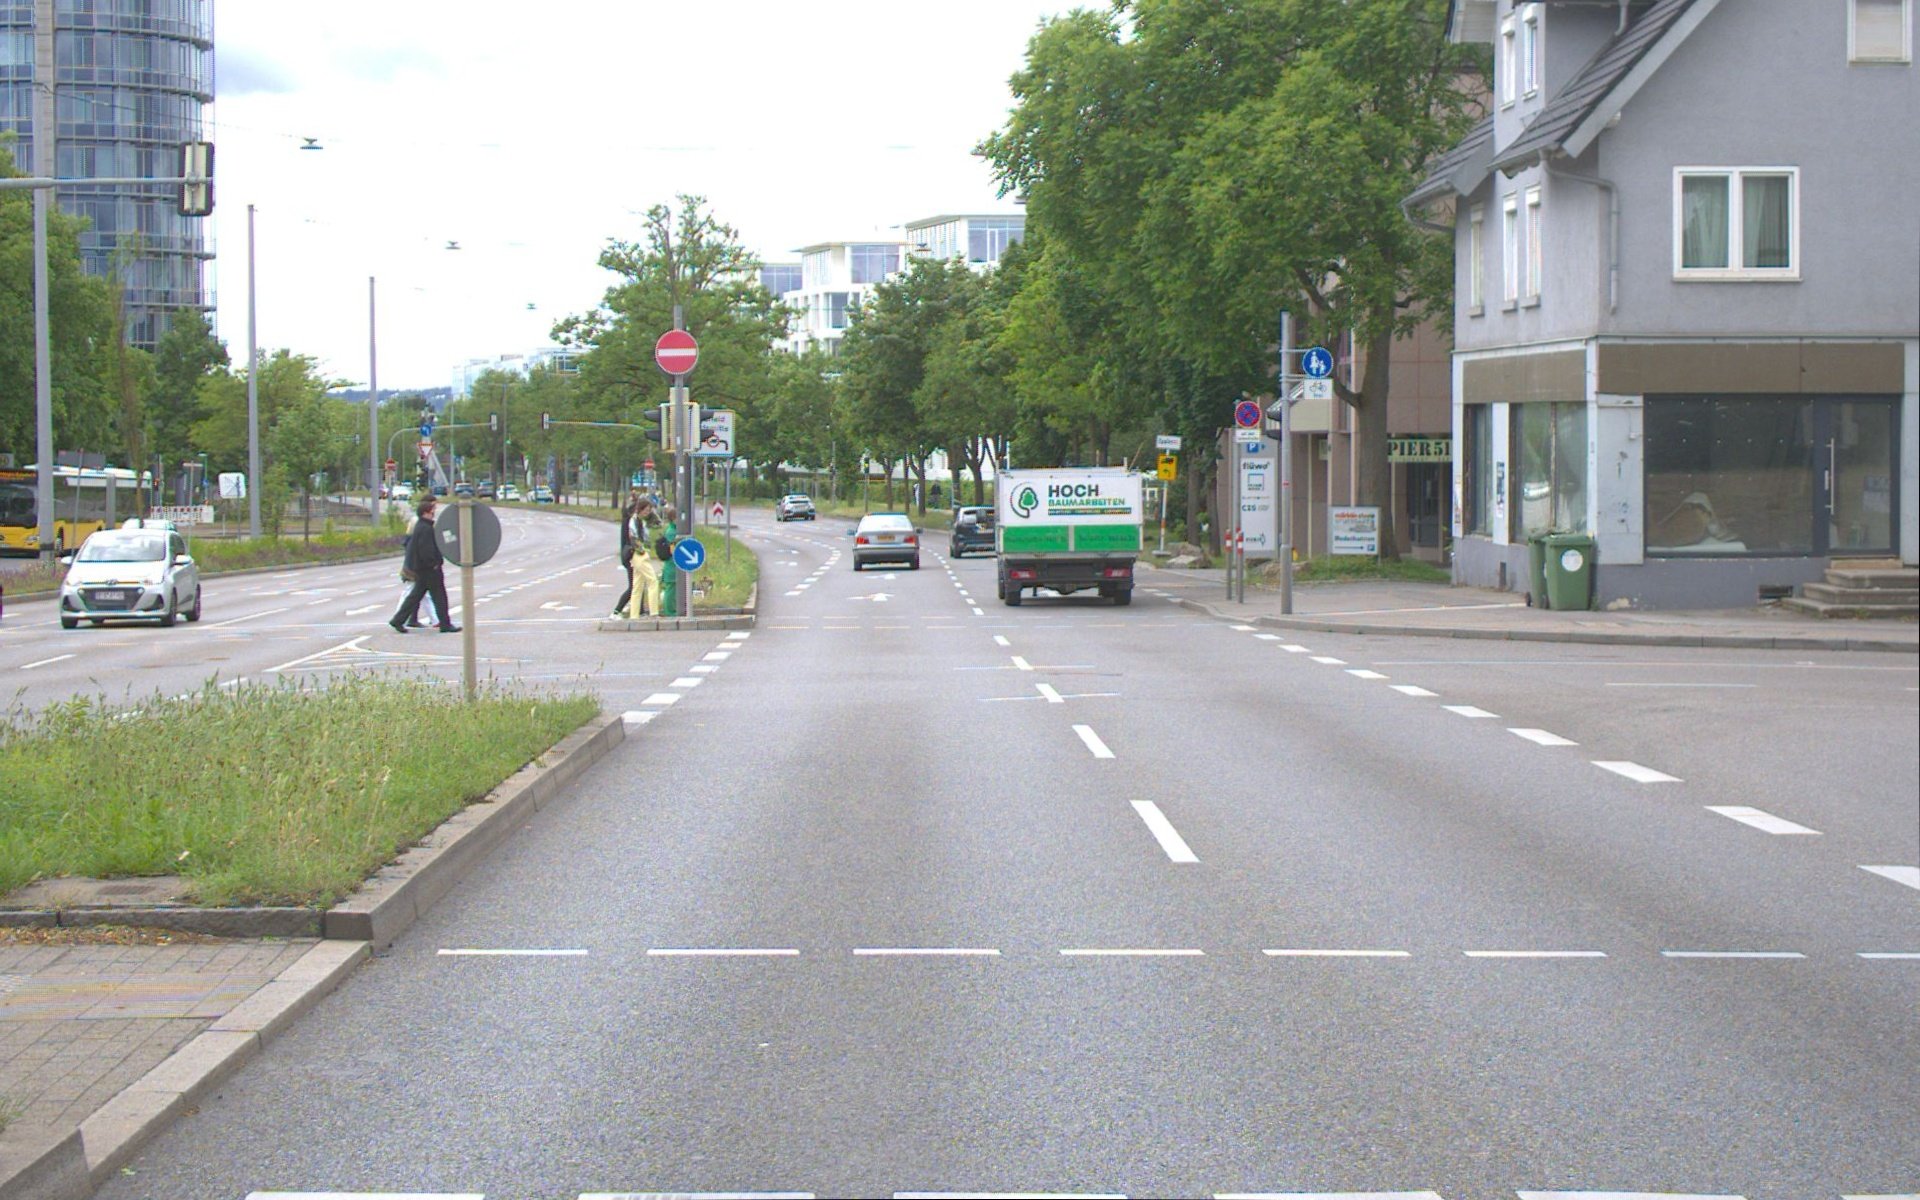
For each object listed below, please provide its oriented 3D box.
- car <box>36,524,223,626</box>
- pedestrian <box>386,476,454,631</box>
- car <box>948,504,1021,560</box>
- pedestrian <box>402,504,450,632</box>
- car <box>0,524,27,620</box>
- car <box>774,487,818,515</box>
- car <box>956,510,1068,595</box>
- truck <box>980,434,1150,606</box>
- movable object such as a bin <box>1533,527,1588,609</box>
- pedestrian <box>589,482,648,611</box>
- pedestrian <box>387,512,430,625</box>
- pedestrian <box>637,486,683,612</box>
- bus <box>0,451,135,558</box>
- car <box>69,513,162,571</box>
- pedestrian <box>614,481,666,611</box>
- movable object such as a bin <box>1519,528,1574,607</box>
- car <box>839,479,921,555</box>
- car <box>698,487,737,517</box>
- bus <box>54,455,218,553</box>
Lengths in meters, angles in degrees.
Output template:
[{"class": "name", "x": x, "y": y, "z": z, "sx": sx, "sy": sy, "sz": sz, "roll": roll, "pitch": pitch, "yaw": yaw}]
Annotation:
[{"class": "car", "x": -12.664, "y": -0.418, "z": 52.673, "sx": 1.993, "sy": 1.481, "sz": 4.001, "roll": -1, "pitch": 1, "yaw": -2}, {"class": "pedestrian", "x": -7.052, "y": -0.611, "z": 44.919, "sx": 0.829, "sy": 2.007, "sz": 0.546, "roll": -1, "pitch": 1, "yaw": -7}, {"class": "car", "x": 0.695, "y": -1.972, "z": 98.995, "sx": 1.993, "sy": 1.546, "sz": 4.000, "roll": 1, "pitch": 1, "yaw": -1}, {"class": "pedestrian", "x": -7.226, "y": -0.438, "z": 46.525, "sx": 0.612, "sy": 1.710, "sz": 0.546, "roll": -1, "pitch": 1, "yaw": -7}, {"class": "car", "x": -15.898, "y": -0.416, "z": 53.062, "sx": 1.993, "sy": 1.481, "sz": 4.001, "roll": -1, "pitch": 1, "yaw": -2}, {"class": "car", "x": -9.173, "y": -5.508, "z": 191.918, "sx": 1.993, "sy": 1.546, "sz": 4.001, "roll": -1, "pitch": 1, "yaw": -9}, {"class": "car", "x": 0.967, "y": -0.934, "z": 65.985, "sx": 1.993, "sy": 1.546, "sz": 4.000, "roll": 1, "pitch": 1, "yaw": -1}, {"class": "truck", "x": 1.633, "y": -1.376, "z": 56.280, "sx": 2.470, "sy": 2.602, "sz": 6.548, "roll": 1, "pitch": 2, "yaw": -1}, {"class": "movable object such as a bin", "x": 7.972, "y": -0.428, "z": 45.636, "sx": 0.604, "sy": 1.056, "sz": 0.589, "roll": 1, "pitch": 1, "yaw": 1}, {"class": "pedestrian", "x": -4.582, "y": -0.723, "z": 46.076, "sx": 0.745, "sy": 1.710, "sz": 0.583, "roll": -1, "pitch": 1, "yaw": -7}, {"class": "pedestrian", "x": -7.336, "y": -0.417, "z": 45.701, "sx": 0.543, "sy": 1.491, "sz": 0.487, "roll": -1, "pitch": 1, "yaw": -9}, {"class": "pedestrian", "x": -4.086, "y": -0.696, "z": 46.874, "sx": 0.583, "sy": 1.710, "sz": 0.546, "roll": -1, "pitch": 1, "yaw": -7}, {"class": "bus", "x": -30.836, "y": -3.171, "z": 115.829, "sx": 2.832, "sy": 3.419, "sz": 10.732, "roll": -1, "pitch": 1, "yaw": 3}, {"class": "car", "x": -24.718, "y": -1.700, "z": 100.768, "sx": 1.806, "sy": 1.656, "sz": 4.000, "roll": -1, "pitch": 1, "yaw": -1}, {"class": "pedestrian", "x": -4.239, "y": -0.716, "z": 45.575, "sx": 0.653, "sy": 1.710, "sz": 0.452, "roll": -1, "pitch": 1, "yaw": -7}, {"class": "movable object such as a bin", "x": 7.893, "y": -0.445, "z": 46.274, "sx": 0.616, "sy": 1.039, "sz": 0.589, "roll": 1, "pitch": 1, "yaw": 1}, {"class": "car", "x": -1.983, "y": -2.082, "z": 86.116, "sx": 1.993, "sy": 1.824, "sz": 4.000, "roll": -1, "pitch": 1, "yaw": -1}, {"class": "car", "x": -12.545, "y": -5.065, "z": 177.888, "sx": 1.993, "sy": 1.514, "sz": 4.001, "roll": -1, "pitch": 2, "yaw": -4}, {"class": "bus", "x": -30.207, "y": -3.510, "z": 126.565, "sx": 2.832, "sy": 3.419, "sz": 10.732, "roll": -1, "pitch": 1, "yaw": 3}]
